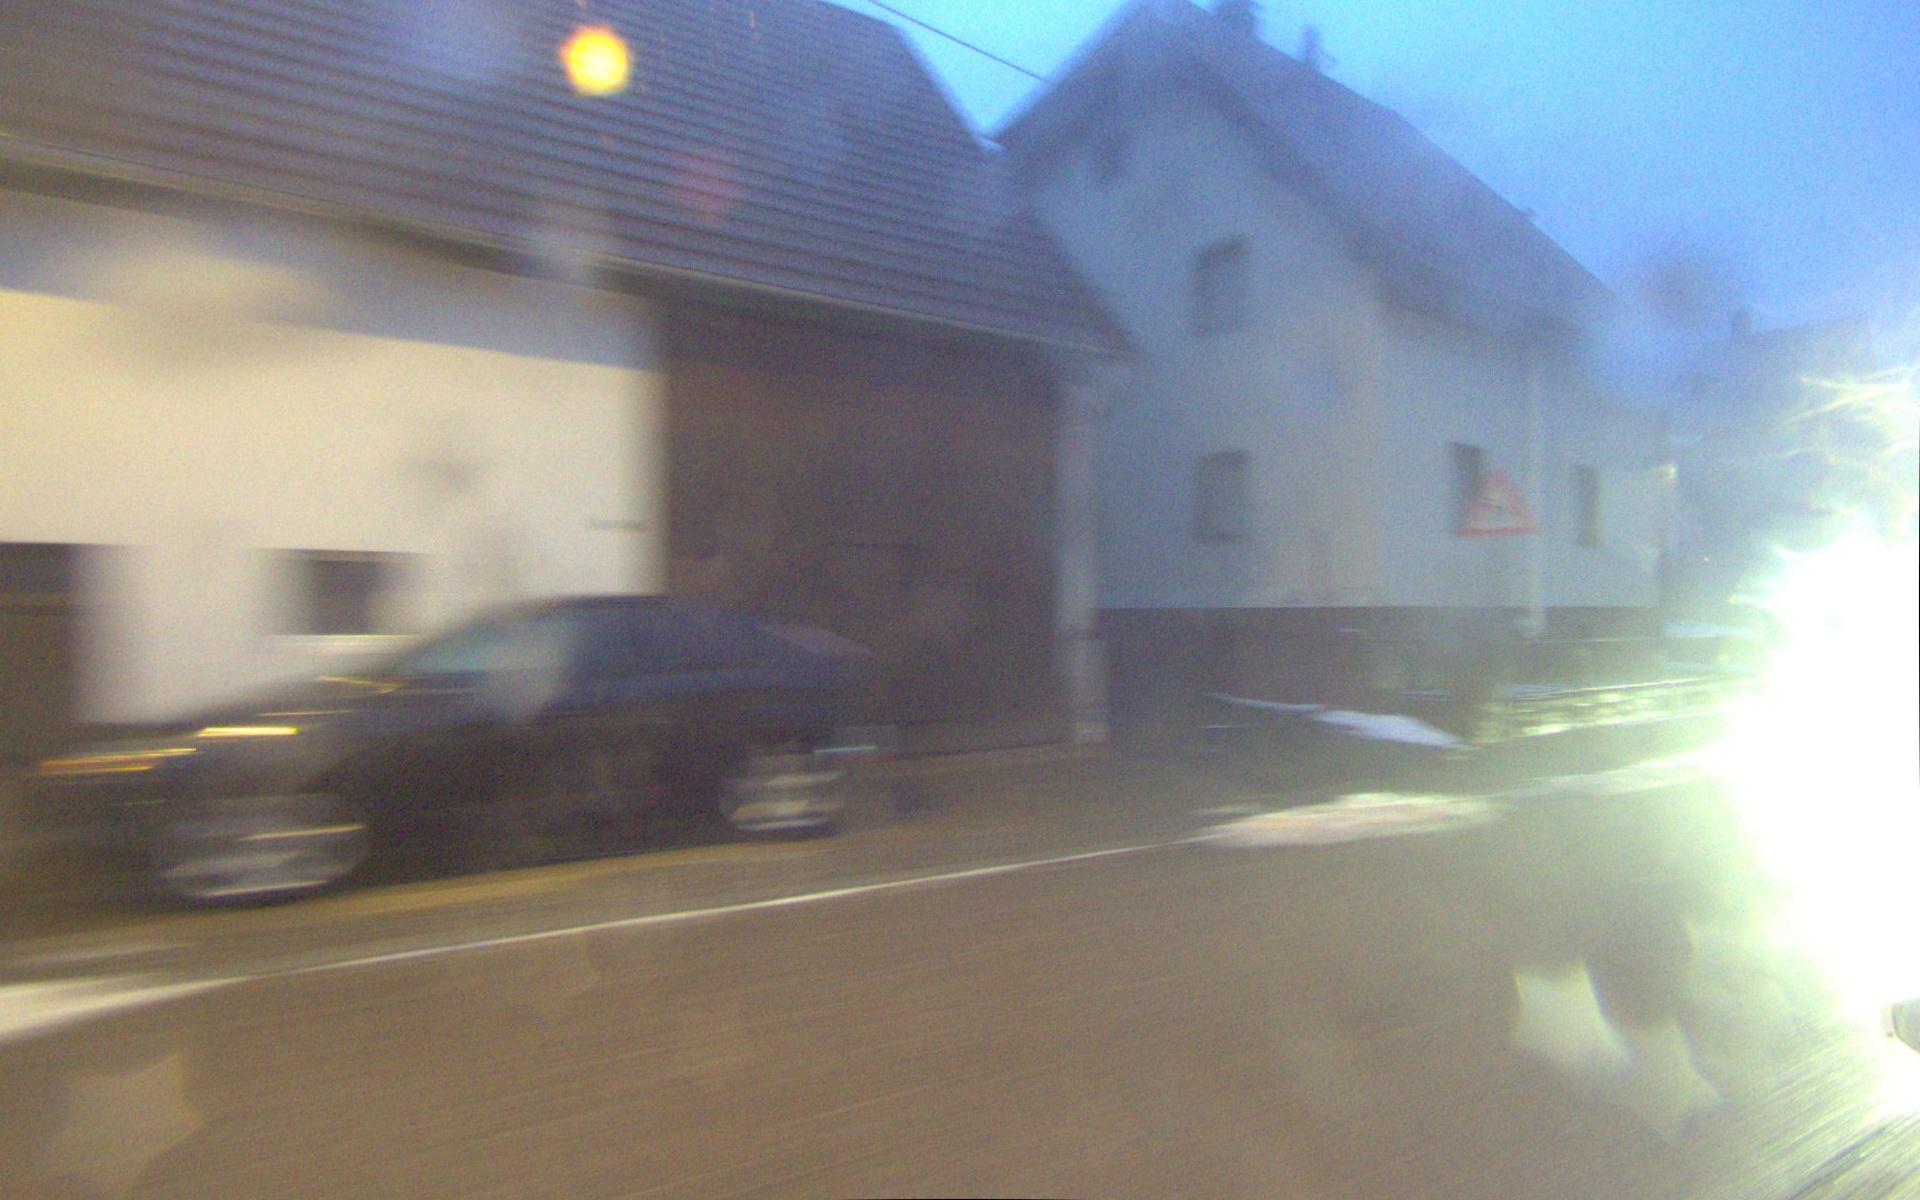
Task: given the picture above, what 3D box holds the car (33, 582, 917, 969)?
[{"bbox_3d":[-2.541,0.704,6.051,4.145,1.543,1.982,0,2,-33],"label":"car"}]
